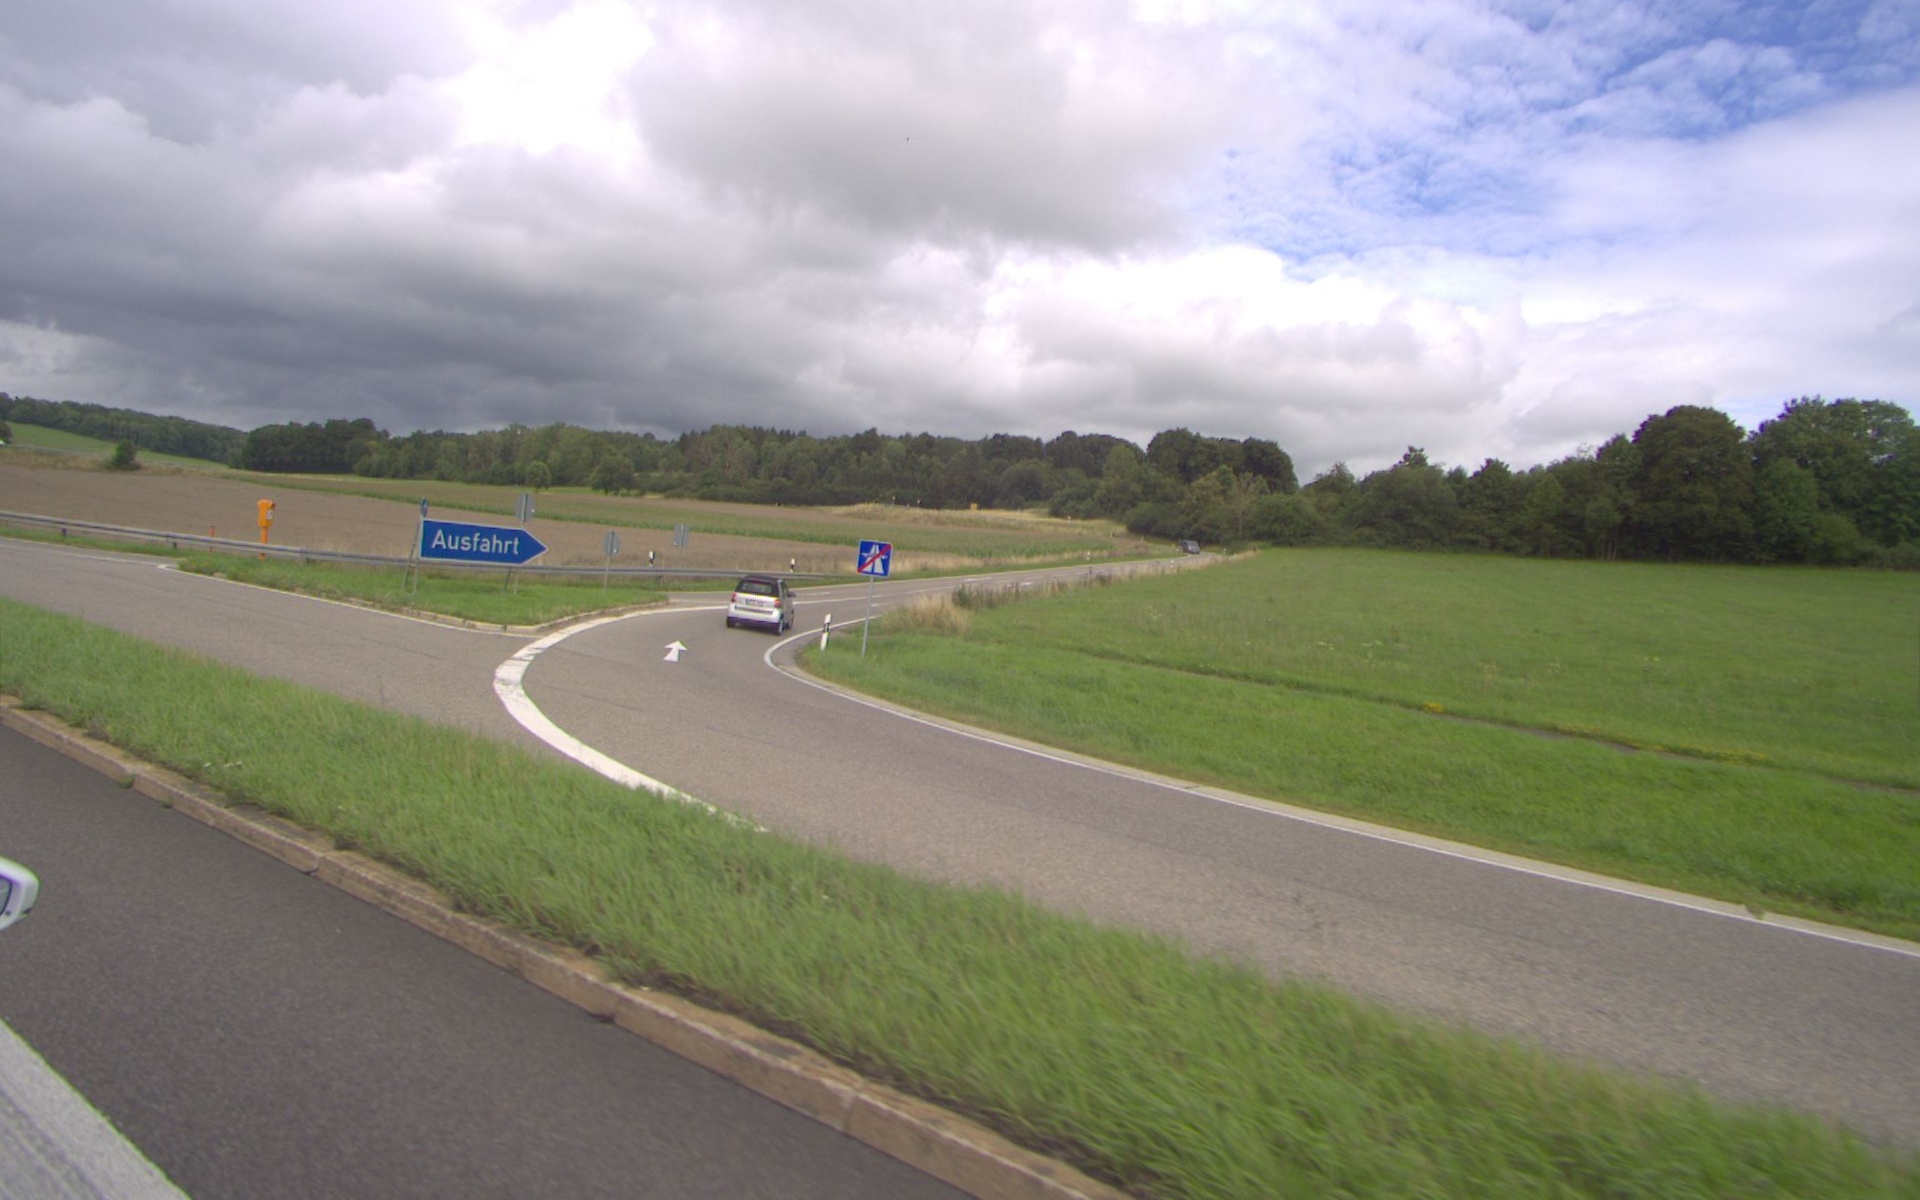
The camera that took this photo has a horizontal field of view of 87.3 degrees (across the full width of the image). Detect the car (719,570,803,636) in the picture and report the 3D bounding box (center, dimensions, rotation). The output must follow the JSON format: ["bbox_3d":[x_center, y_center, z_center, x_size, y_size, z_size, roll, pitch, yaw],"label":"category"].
[{"bbox_3d":[-5.863,0.028,30.072,1.751,1.573,3.993,7,2,-3],"label":"car"}]

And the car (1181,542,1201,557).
[{"bbox_3d":[36.574,-7.944,159.335,1.963,2.040,3.996,6,2,0],"label":"car"}]
